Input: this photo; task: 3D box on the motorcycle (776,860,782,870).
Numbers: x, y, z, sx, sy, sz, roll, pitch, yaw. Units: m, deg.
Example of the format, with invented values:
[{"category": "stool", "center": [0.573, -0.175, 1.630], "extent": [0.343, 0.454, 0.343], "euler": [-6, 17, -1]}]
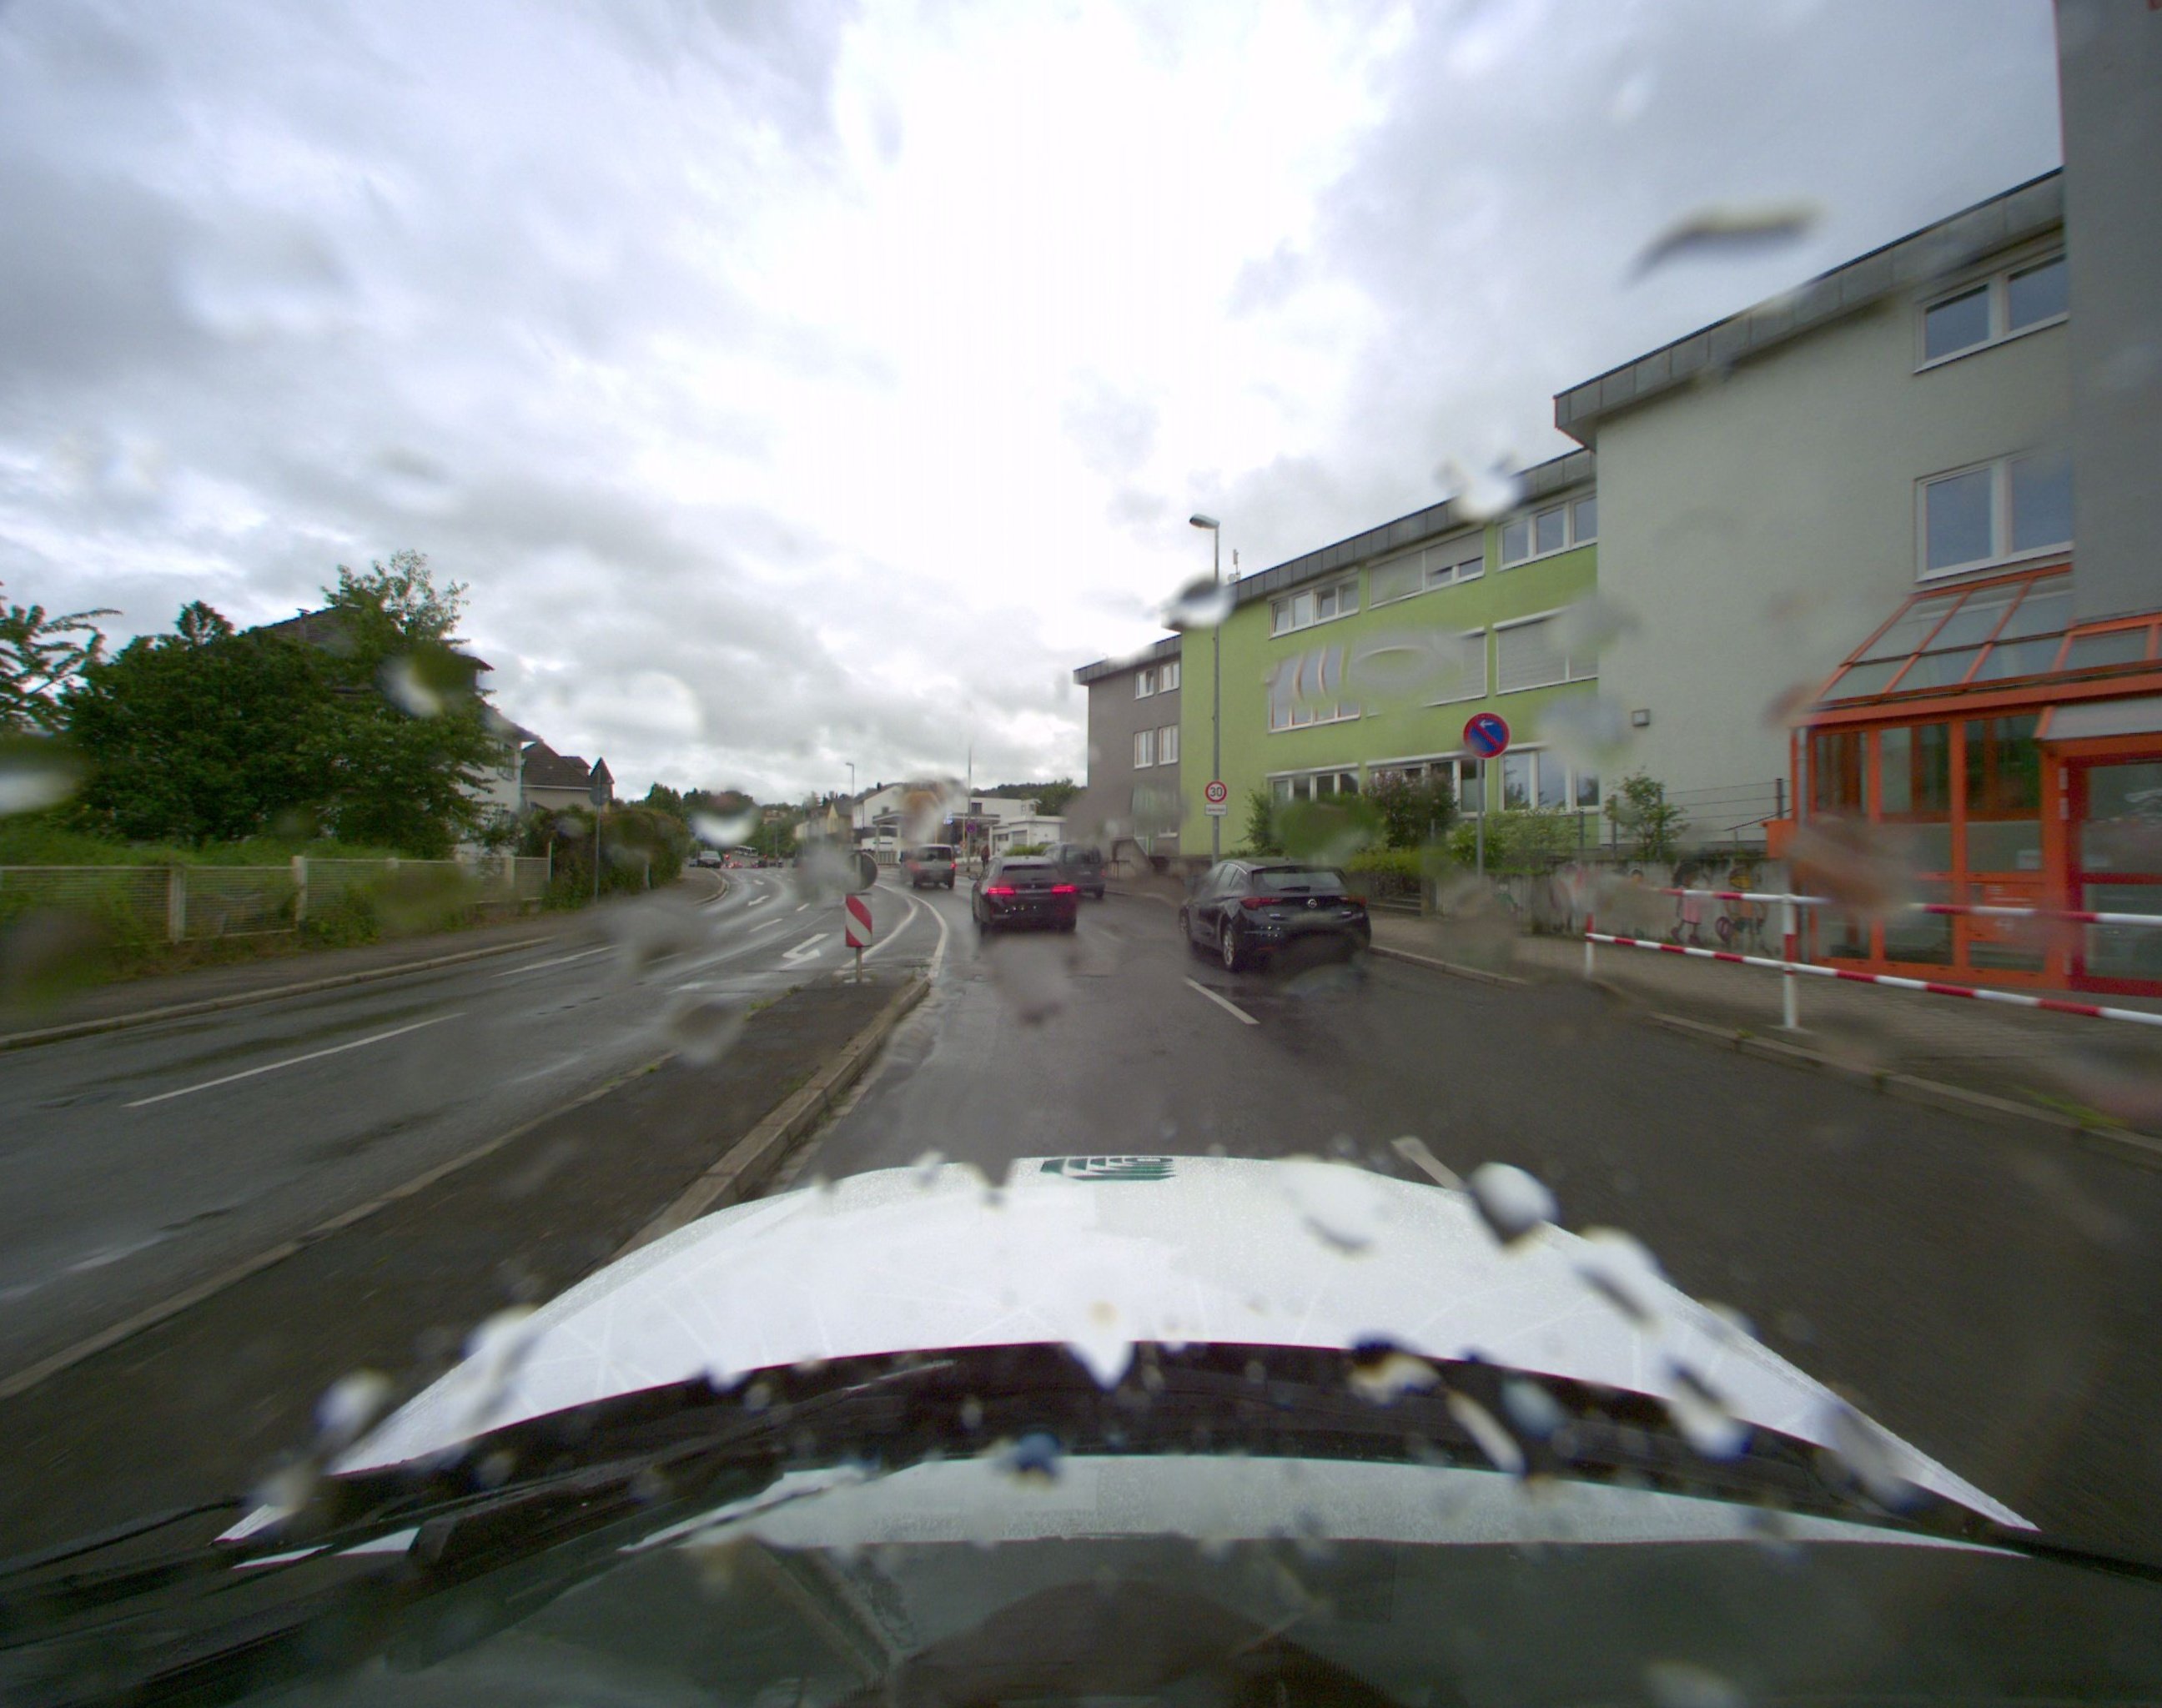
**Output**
[{"category": "motorcycle", "center": [-52.131, 1.902, 140.647], "extent": [0.707, 1.509, 2.132], "euler": [-3, 0, -26]}]

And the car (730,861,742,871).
[{"category": "car", "center": [-64.891, 2.237, 153.081], "extent": [2.002, 1.741, 3.969], "euler": [0, -2, -22]}]

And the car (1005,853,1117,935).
[{"category": "car", "center": [-0.545, 0.779, 17.061], "extent": [1.991, 1.484, 3.990], "euler": [0, -1, -6]}]

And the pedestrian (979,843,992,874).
[{"category": "pedestrian", "center": [-6.209, 0.282, 52.964], "extent": [0.717, 2.014, 0.611], "euler": [0, -2, -18]}]

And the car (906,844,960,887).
[{"category": "car", "center": [-6.482, 0.517, 35.358], "extent": [1.997, 1.738, 3.979], "euler": [0, -2, -15]}]

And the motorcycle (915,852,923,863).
[{"category": "motorcycle", "center": [-16.055, 0.331, 80.597], "extent": [0.465, 1.055, 1.378], "euler": [0, -2, -26]}]

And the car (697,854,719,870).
[{"category": "car", "center": [-33.623, 0.742, 73.427], "extent": [1.759, 1.440, 4.094], "euler": [0, -2, -26]}]

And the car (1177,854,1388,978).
[{"category": "car", "center": [2.655, 0.734, 11.709], "extent": [1.753, 1.449, 3.993], "euler": [0, 0, -5]}]

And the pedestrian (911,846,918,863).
[{"category": "pedestrian", "center": [-16.477, 0.052, 80.601], "extent": [0.613, 1.656, 0.580], "euler": [0, -2, -26]}]

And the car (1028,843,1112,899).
[{"category": "car", "center": [-0.470, 0.576, 27.877], "extent": [1.843, 1.767, 3.976], "euler": [0, -2, -17]}]

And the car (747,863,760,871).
[{"category": "car", "center": [-68.473, 2.701, 170.282], "extent": [2.006, 1.741, 3.961], "euler": [0, -2, -30]}]

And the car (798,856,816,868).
[{"category": "car", "center": [-36.727, 1.060, 109.084], "extent": [1.709, 1.510, 4.494], "euler": [0, -2, -27]}]
